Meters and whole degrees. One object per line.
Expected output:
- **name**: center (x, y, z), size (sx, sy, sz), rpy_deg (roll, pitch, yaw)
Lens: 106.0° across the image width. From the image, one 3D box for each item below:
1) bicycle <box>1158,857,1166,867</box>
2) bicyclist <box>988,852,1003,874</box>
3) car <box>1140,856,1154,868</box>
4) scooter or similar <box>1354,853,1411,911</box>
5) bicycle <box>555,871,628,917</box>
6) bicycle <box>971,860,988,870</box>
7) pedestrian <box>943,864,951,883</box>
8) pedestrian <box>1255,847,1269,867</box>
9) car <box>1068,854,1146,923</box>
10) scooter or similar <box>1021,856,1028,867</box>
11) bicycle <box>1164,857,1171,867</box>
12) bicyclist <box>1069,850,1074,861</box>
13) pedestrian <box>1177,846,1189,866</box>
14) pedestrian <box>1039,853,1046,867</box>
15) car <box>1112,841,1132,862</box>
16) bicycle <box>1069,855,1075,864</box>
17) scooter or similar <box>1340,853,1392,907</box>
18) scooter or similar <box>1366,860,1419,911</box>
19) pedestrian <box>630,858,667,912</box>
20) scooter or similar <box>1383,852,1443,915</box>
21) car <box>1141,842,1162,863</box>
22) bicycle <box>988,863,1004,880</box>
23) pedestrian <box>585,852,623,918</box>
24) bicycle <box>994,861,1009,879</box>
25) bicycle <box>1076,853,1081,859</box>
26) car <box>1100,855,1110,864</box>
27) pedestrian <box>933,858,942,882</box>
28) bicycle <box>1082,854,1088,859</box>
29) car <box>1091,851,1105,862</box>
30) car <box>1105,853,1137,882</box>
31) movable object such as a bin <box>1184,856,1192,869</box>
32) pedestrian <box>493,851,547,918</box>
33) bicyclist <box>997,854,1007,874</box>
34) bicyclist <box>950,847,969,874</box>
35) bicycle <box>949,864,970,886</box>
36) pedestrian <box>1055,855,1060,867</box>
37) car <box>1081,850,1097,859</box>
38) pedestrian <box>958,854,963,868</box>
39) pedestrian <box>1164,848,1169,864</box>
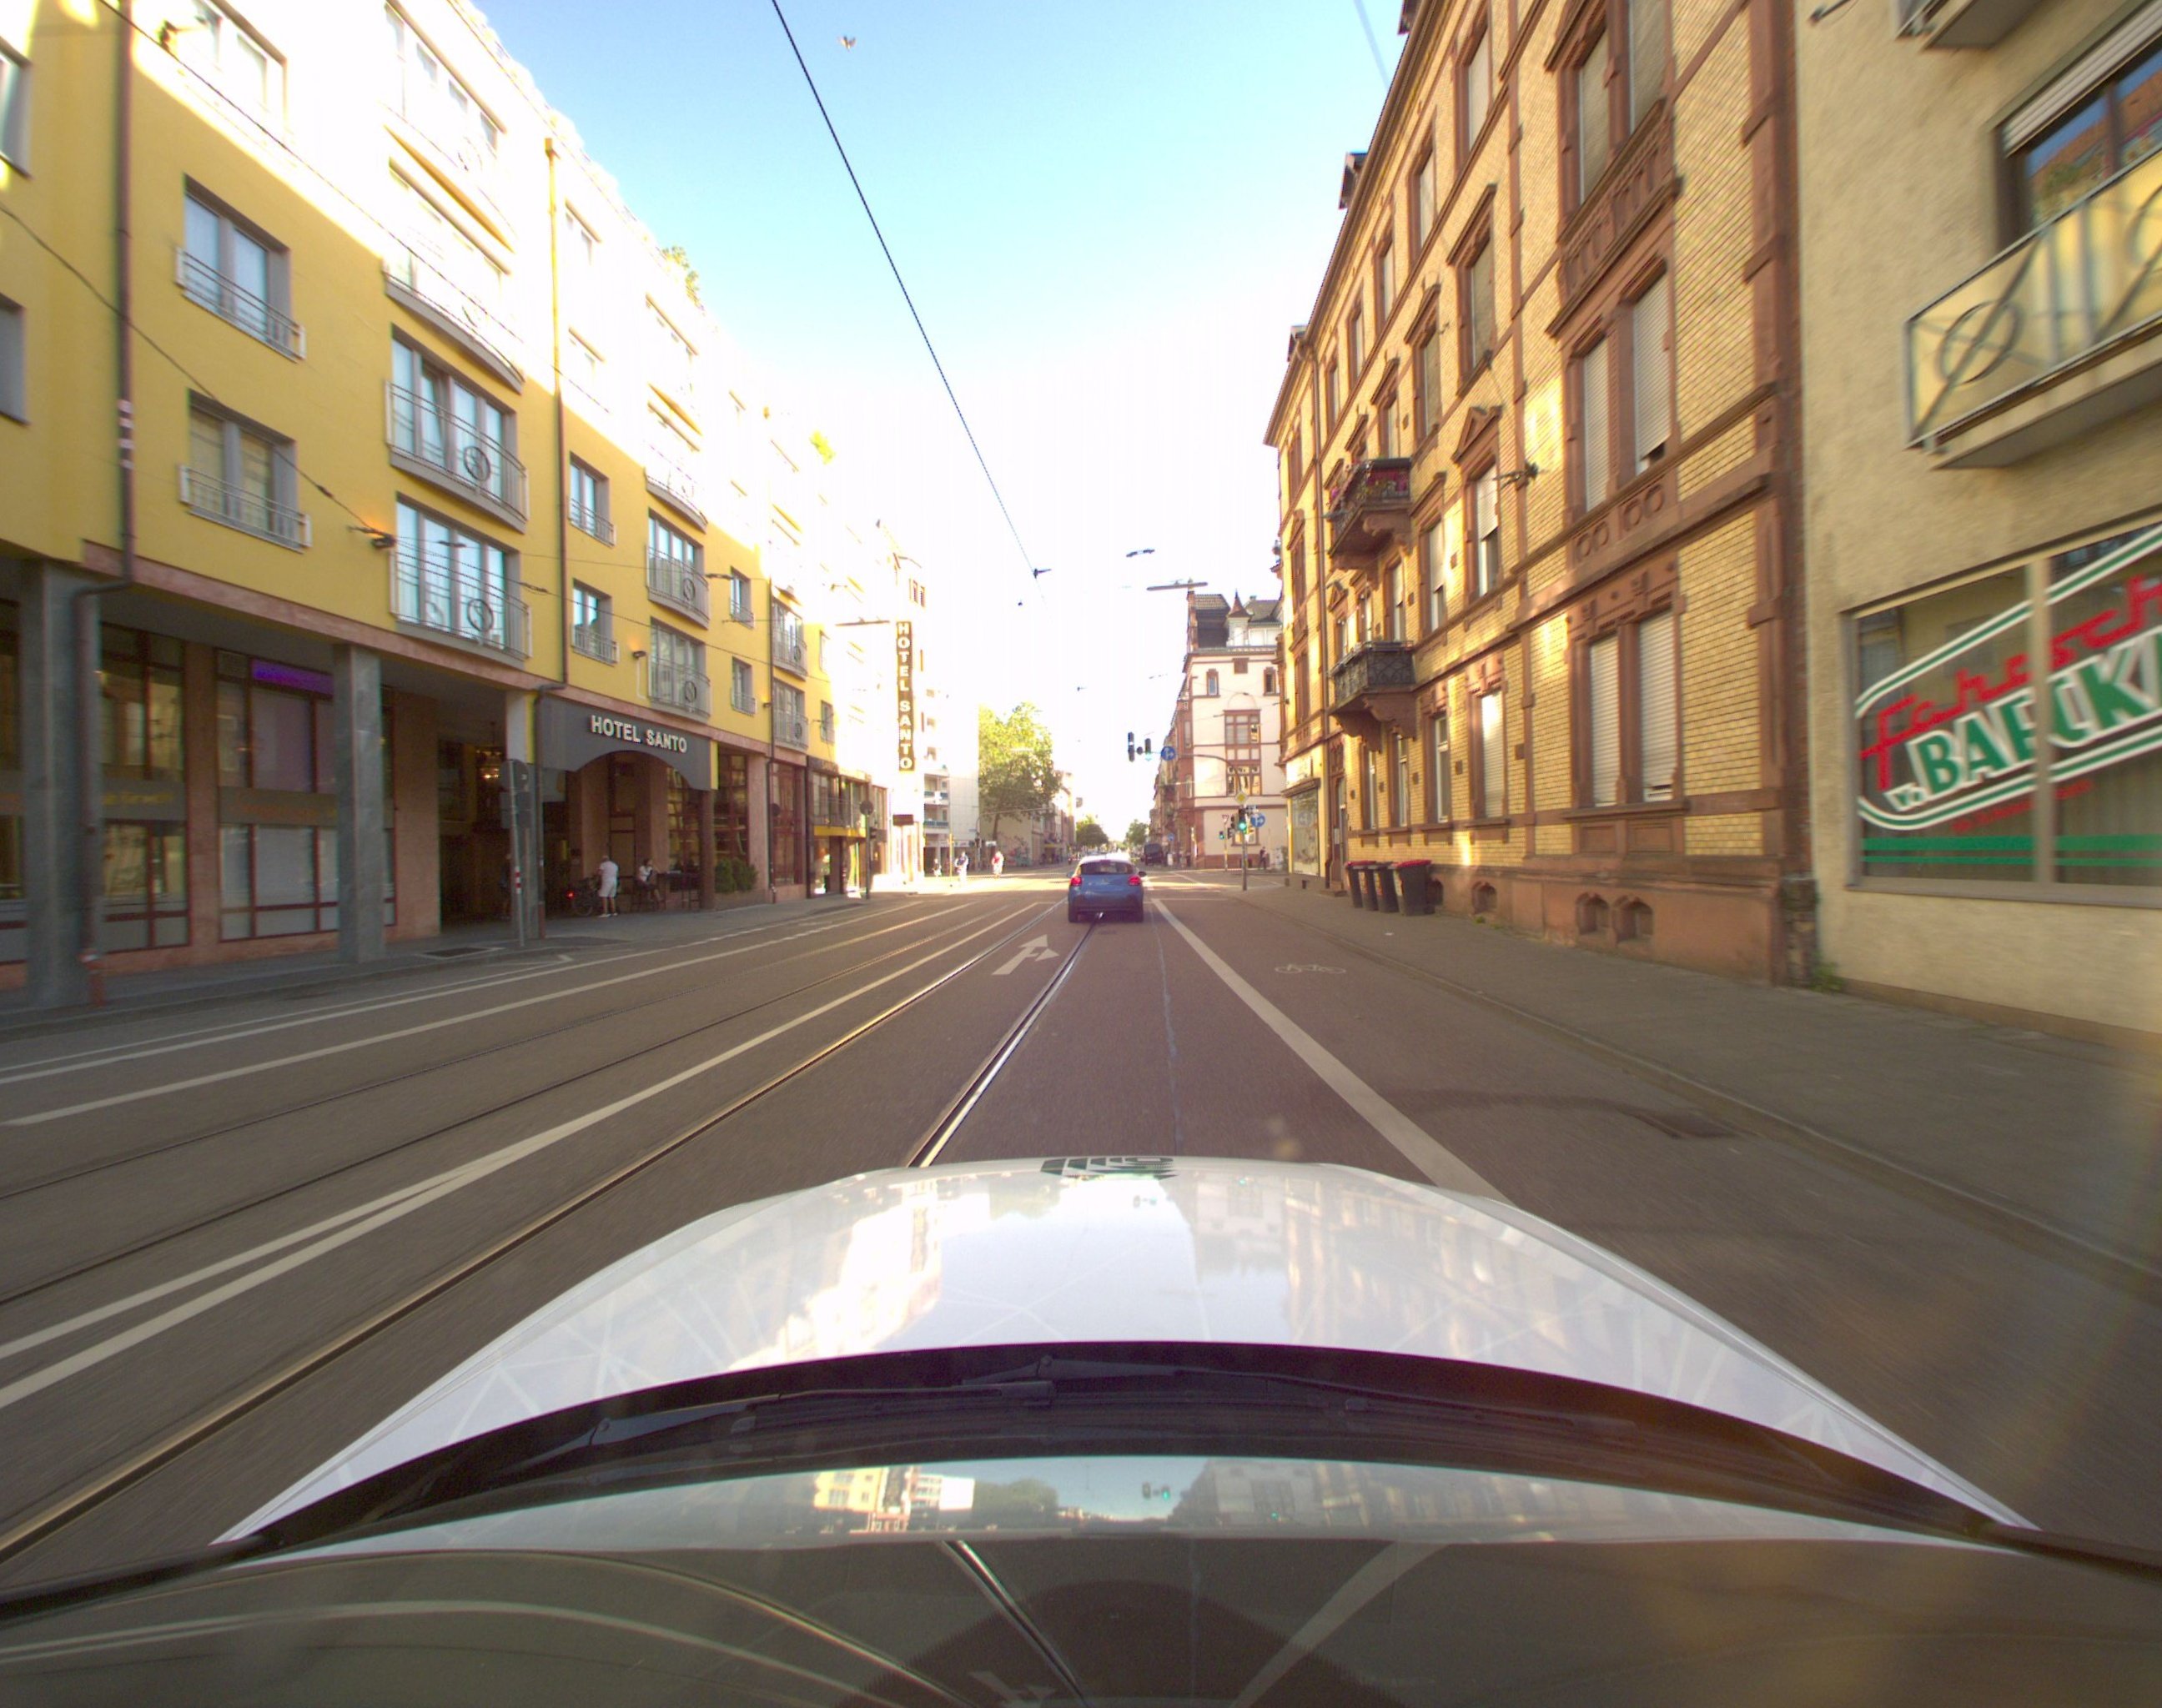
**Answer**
- **bicycle**: center (7.818, 0.766, 78.625), size (0.430, 0.947, 1.761), rpy_deg (-1, 0, -4)
- **bicyclist**: center (-5.695, 0.585, 54.391), size (0.732, 1.381, 1.469), rpy_deg (-1, 0, 2)
- **car**: center (10.228, 1.228, 126.477), size (1.997, 1.672, 4.809), rpy_deg (-2, 0, 3)
- **scooter or similar**: center (6.579, 0.608, 17.802), size (0.930, 1.148, 0.650), rpy_deg (-6, 0, 1)
- **bicycle**: center (-13.607, 1.084, 22.708), size (0.578, 1.203, 2.085), rpy_deg (0, 0, 8)
- **bicycle**: center (-11.488, 1.231, 92.073), size (1.898, 1.034, 0.669), rpy_deg (-1, 0, 29)
- **pedestrian**: center (-11.140, 1.599, 67.622), size (0.540, 1.552, 0.516), rpy_deg (-1, 0, 1)
- **pedestrian**: center (13.501, 0.244, 60.640), size (0.931, 1.456, 0.826), rpy_deg (-1, 0, 16)
- **car**: center (0.609, 0.750, 19.683), size (1.668, 1.477, 4.001), rpy_deg (-1, 0, 1)
- **scooter or similar**: center (-6.890, 0.943, 99.510), size (0.785, 1.271, 1.075), rpy_deg (1, 2, 2)
- **bicycle**: center (8.351, 0.721, 78.662), size (0.430, 0.947, 1.761), rpy_deg (-1, 0, -4)
- **bicyclist**: center (-1.269, 0.172, 109.273), size (0.680, 1.483, 0.779), rpy_deg (-2, 0, 2)
- **pedestrian**: center (9.352, 0.188, 74.729), size (0.703, 1.781, 0.673), rpy_deg (-12, 0, 1)
- **pedestrian**: center (-4.850, 0.744, 102.471), size (0.677, 1.765, 1.029), rpy_deg (-1, 0, 13)
- **car**: center (4.191, -0.254, 84.456), size (1.986, 2.013, 4.002), rpy_deg (-2, 0, 2)
- **bicycle**: center (-1.244, 0.741, 109.374), size (0.690, 1.120, 2.085), rpy_deg (-1, 0, 2)
- **scooter or similar**: center (6.565, 0.590, 18.791), size (0.894, 1.148, 0.548), rpy_deg (-6, 0, 1)
- **scooter or similar**: center (6.540, 0.655, 17.114), size (0.787, 0.957, 0.680), rpy_deg (-6, 0, 1)
- **pedestrian**: center (-12.636, 0.901, 23.799), size (0.701, 1.547, 0.602), rpy_deg (-1, 0, 7)
- **scooter or similar**: center (6.580, 0.574, 16.167), size (0.787, 1.148, 0.790), rpy_deg (-6, 0, 1)
- **car**: center (8.559, -0.178, 98.988), size (2.262, 2.436, 5.724), rpy_deg (-1, 0, 3)
- **bicycle**: center (-5.669, 1.147, 54.388), size (0.728, 1.065, 2.062), rpy_deg (-1, 0, 2)
- **pedestrian**: center (-13.073, 0.831, 22.320), size (0.558, 1.770, 0.724), rpy_deg (0, 0, 7)
- **bicycle**: center (-5.607, 1.124, 57.528), size (0.728, 1.183, 2.062), rpy_deg (-1, 0, 2)
- **bicycle**: center (-0.651, 0.528, 191.203), size (1.118, 1.319, 3.641), rpy_deg (-2, 0, -2)
- **car**: center (4.743, 1.138, 160.718), size (1.986, 1.744, 4.565), rpy_deg (-1, 0, 2)
- **pedestrian**: center (-8.660, 0.964, 49.222), size (0.402, 1.410, 0.516), rpy_deg (-1, 0, 1)
- **bicycle**: center (0.882, 0.565, 191.375), size (1.118, 1.146, 3.641), rpy_deg (-2, 0, -2)
- **car**: center (2.524, 0.400, 121.545), size (1.978, 1.502, 4.311), rpy_deg (-2, 0, 2)
- **car**: center (2.190, 0.716, 44.964), size (1.661, 1.478, 4.002), rpy_deg (-2, 0, 2)
- **movable object such as a bin**: center (9.574, 0.731, 72.927), size (0.663, 1.153, 0.595), rpy_deg (-1, 0, 4)
- **pedestrian**: center (-15.047, 0.804, 21.880), size (0.703, 1.770, 0.958), rpy_deg (-1, 0, 7)
- **bicyclist**: center (-5.571, 0.686, 57.348), size (0.587, 1.376, 0.679), rpy_deg (-1, 0, 1)
- **bicyclist**: center (-6.367, 0.341, 42.690), size (0.721, 1.381, 1.228), rpy_deg (-1, 0, 1)
- **bicycle**: center (-6.340, 1.096, 42.636), size (0.728, 1.088, 2.062), rpy_deg (-1, 0, 2)
- **pedestrian**: center (-3.418, 1.012, 118.528), size (0.708, 1.764, 0.571), rpy_deg (-2, 0, 1)
- **car**: center (2.346, 0.259, 239.844), size (4.327, 2.581, 2.193), rpy_deg (-1, 0, -23)
- **pedestrian**: center (-14.532, 0.852, 98.362), size (0.454, 1.718, 0.547), rpy_deg (-2, 0, 2)
- **pedestrian**: center (10.953, 0.305, 104.462), size (0.583, 2.013, 0.823), rpy_deg (-1, 0, 2)
